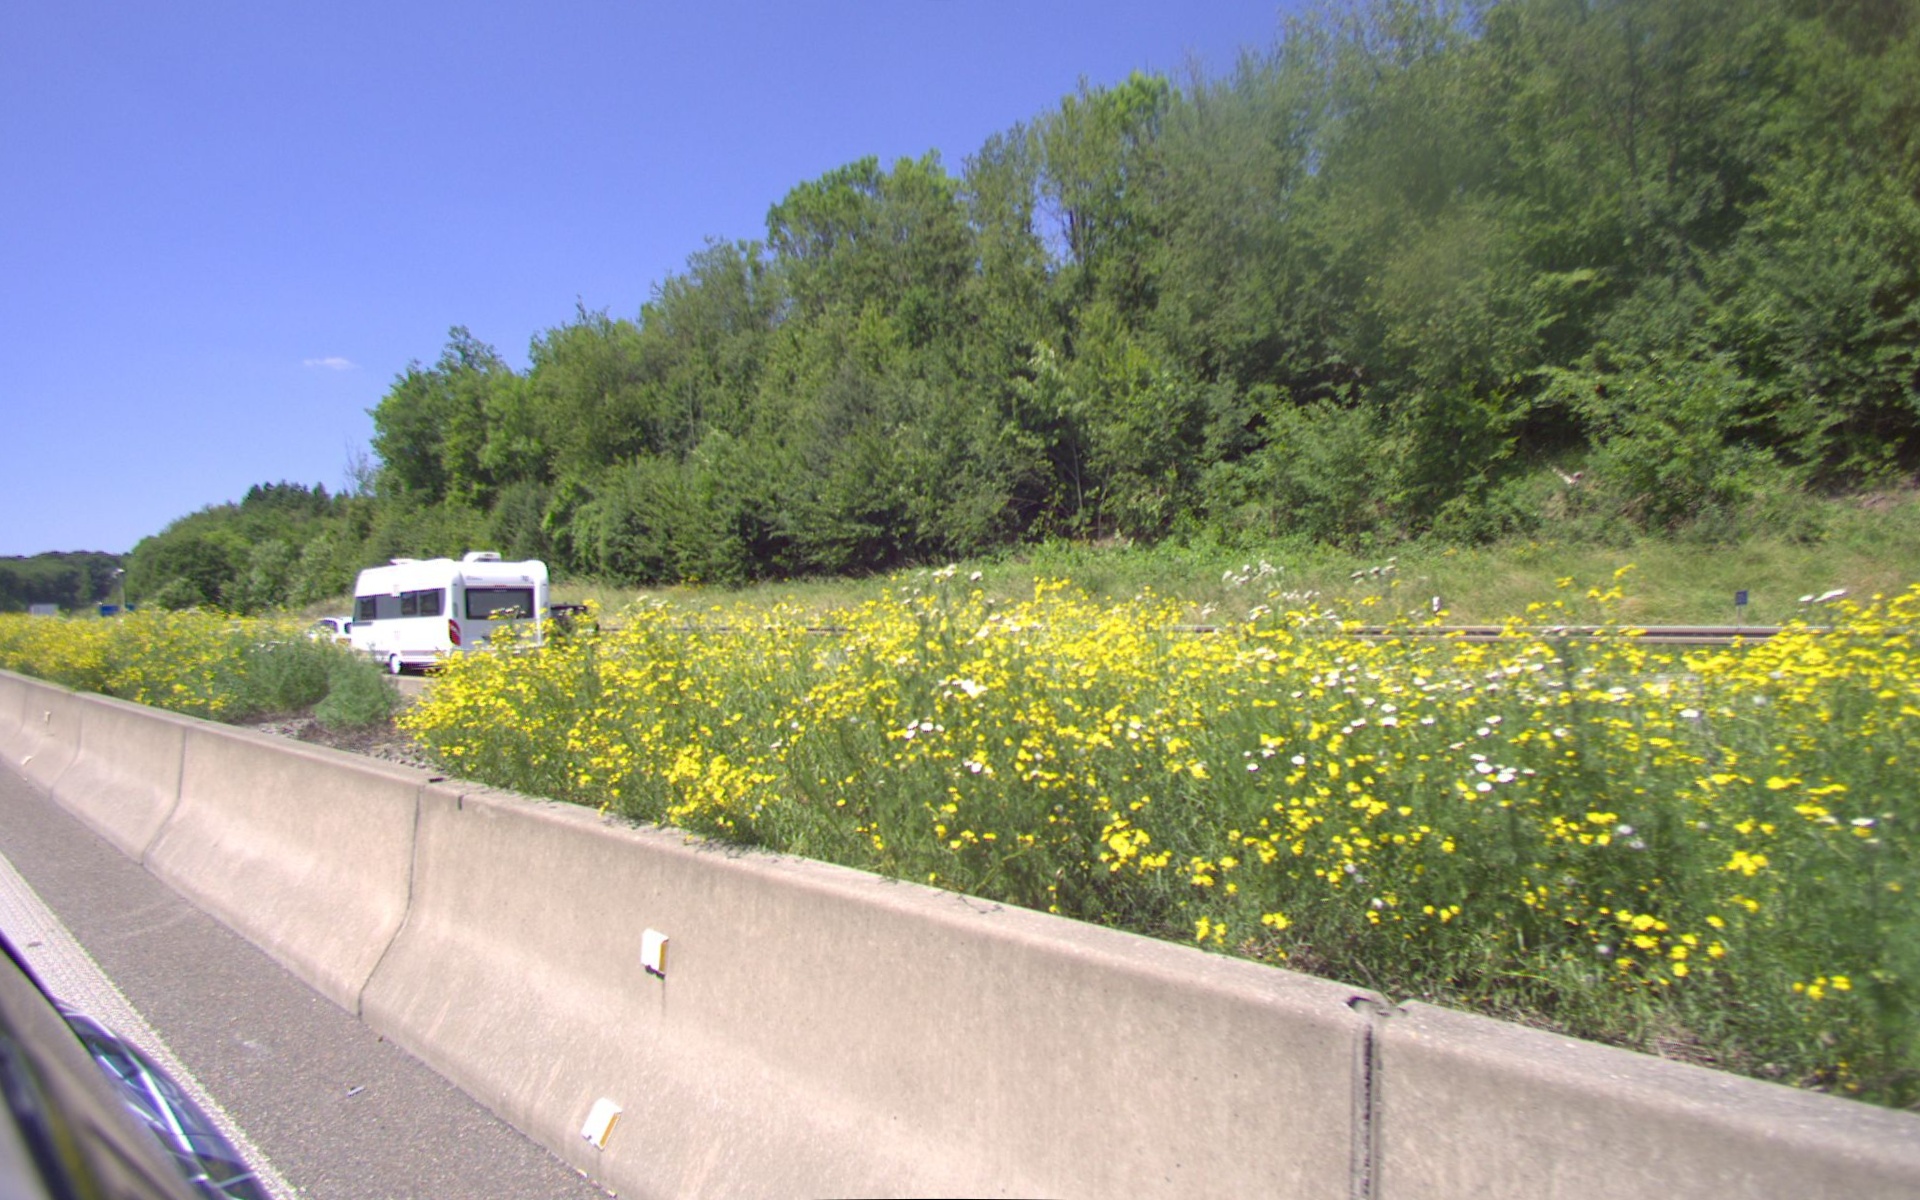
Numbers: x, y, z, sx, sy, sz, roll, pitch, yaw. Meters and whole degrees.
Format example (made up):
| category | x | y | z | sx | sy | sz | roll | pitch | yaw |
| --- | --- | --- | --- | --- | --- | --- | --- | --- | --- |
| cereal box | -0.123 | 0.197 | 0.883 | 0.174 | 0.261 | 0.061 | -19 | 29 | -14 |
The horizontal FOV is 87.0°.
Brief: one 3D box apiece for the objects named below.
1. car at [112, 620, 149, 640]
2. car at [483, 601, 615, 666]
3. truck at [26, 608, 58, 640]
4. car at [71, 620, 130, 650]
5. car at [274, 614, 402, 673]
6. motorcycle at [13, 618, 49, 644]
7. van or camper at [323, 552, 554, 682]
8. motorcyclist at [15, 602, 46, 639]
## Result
| category | x | y | z | sx | sy | sz | roll | pitch | yaw |
| --- | --- | --- | --- | --- | --- | --- | --- | --- | --- |
| car | -78.142 | 2.826 | 95.367 | 4.765 | 1.705 | 1.972 | -2 | -1 | 42 |
| car | -11.901 | 0.934 | 29.193 | 4.420 | 1.708 | 1.737 | -2 | -1 | 41 |
| truck | -121.420 | 3.151 | 133.994 | 2.794 | 3.968 | 13.765 | -1 | -1 | -41 |
| car | -46.210 | 1.865 | 54.369 | 4.355 | 1.533 | 1.820 | -2 | 0 | 41 |
| car | -17.226 | 1.160 | 27.925 | 4.607 | 1.450 | 1.737 | -2 | 0 | 41 |
| motorcycle | -46.113 | 1.515 | 50.219 | 2.612 | 1.224 | 1.029 | -2 | 0 | 41 |
| van or camper | -12.541 | 0.402 | 23.984 | 7.395 | 2.656 | 2.284 | -2 | -1 | 41 |
| motorcyclist | -46.178 | 1.038 | 50.283 | 1.283 | 1.799 | 1.021 | -2 | -1 | 41 |
